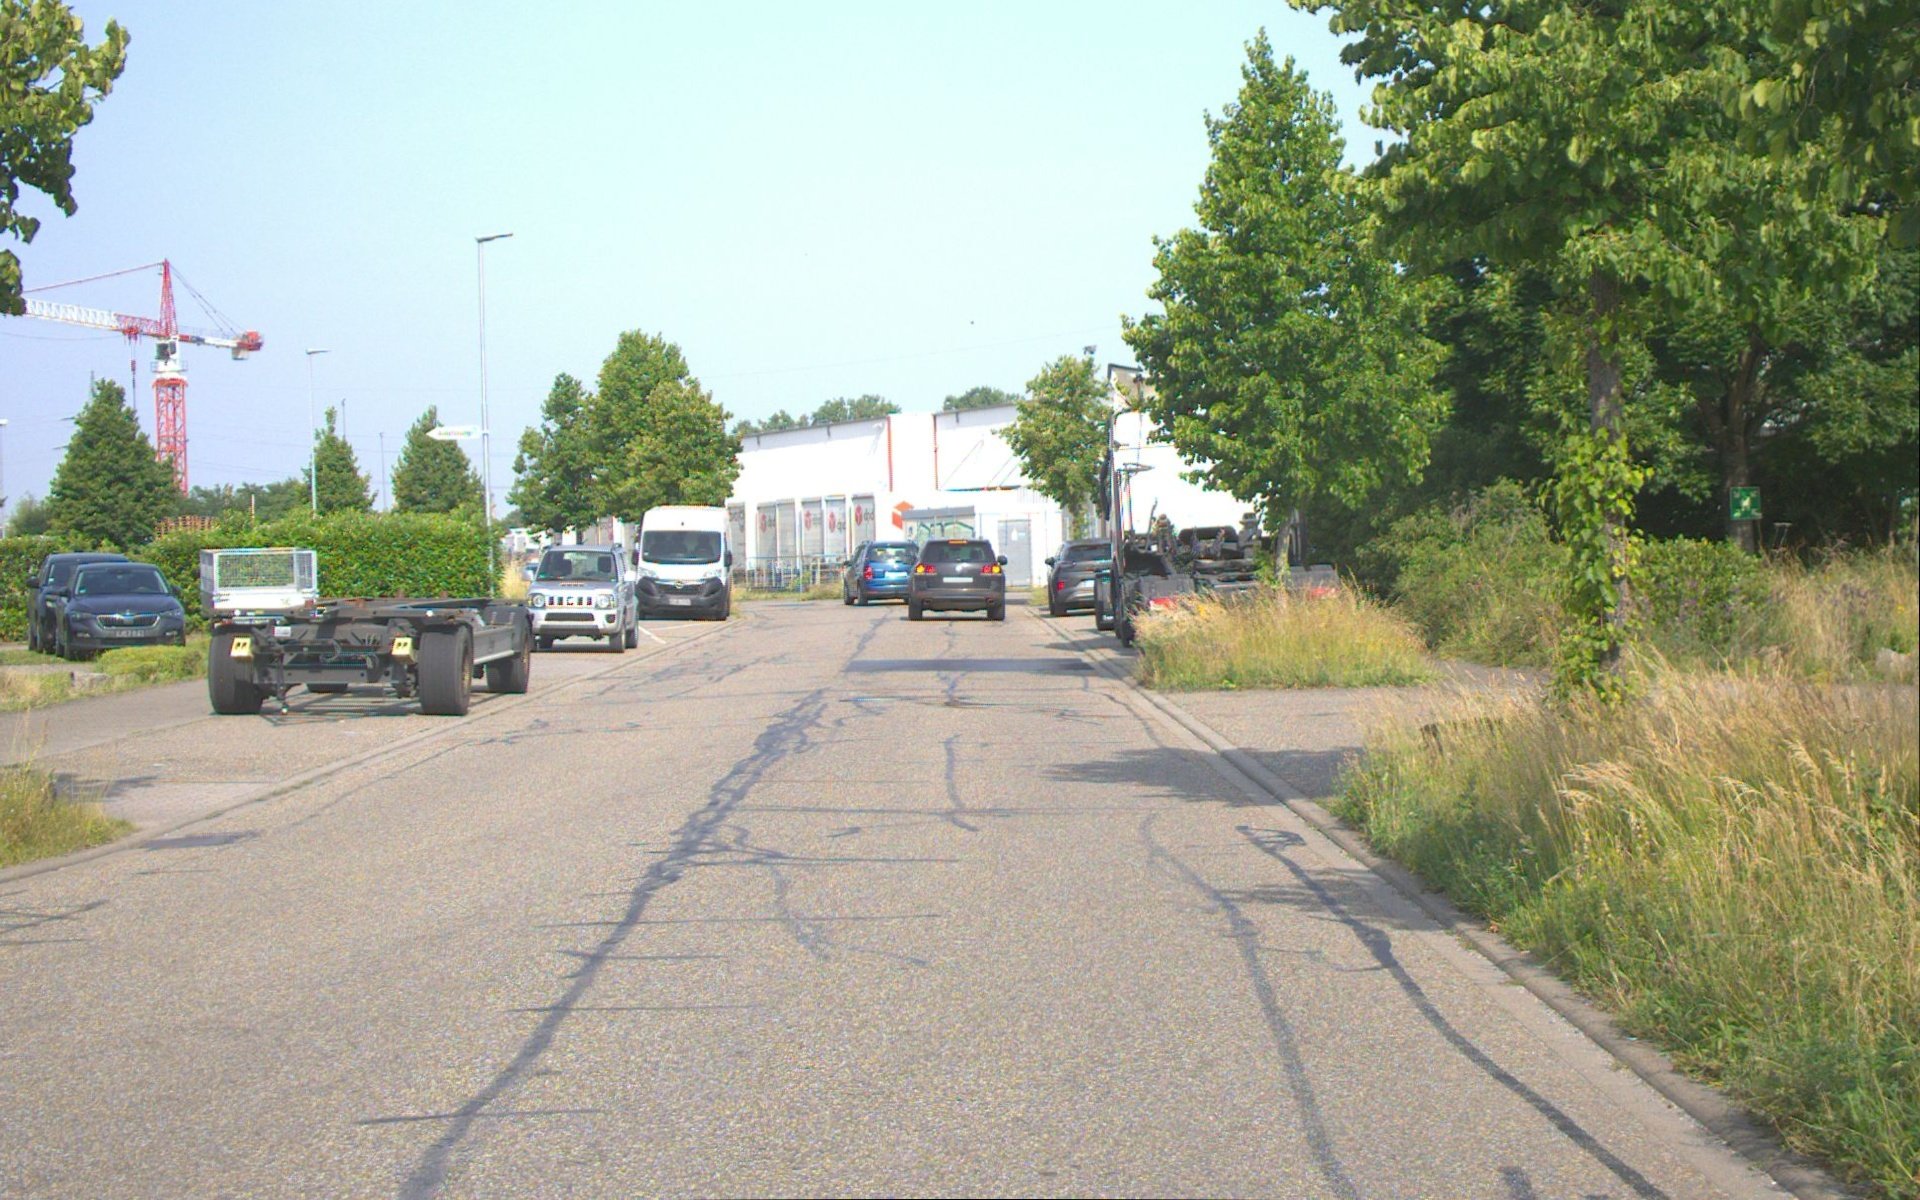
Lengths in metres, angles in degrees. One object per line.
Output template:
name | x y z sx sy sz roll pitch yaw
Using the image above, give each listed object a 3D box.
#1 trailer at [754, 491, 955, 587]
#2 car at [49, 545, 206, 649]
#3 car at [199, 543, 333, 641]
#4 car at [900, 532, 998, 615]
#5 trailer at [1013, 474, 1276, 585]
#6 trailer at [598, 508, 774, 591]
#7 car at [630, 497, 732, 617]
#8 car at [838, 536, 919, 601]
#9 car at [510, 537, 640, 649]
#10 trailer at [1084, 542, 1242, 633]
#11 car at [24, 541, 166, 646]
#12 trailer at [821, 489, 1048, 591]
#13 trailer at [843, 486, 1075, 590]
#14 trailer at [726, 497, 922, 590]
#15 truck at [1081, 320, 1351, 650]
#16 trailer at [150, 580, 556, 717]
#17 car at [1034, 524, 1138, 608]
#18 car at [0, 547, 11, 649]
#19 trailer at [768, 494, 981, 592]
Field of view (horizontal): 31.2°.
trailer | -4.479 -2.561 145.874 8.031 3.880 2.776 1 0 -24
car | -12.653 -0.074 52.088 1.975 1.471 4.423 -1 1 -18
car | -11.660 -0.147 57.581 1.833 1.566 3.818 0 1 -17
car | -0.222 -0.537 69.960 1.880 1.581 4.113 -2 0 0
trailer | 6.439 -2.453 119.657 8.730 3.748 2.791 -1 0 -23
trailer | -13.224 -2.420 166.091 7.960 3.880 2.776 1 0 -24
car | -6.318 -0.984 78.548 2.102 2.586 6.505 1 1 -3
car | -2.061 -0.799 87.876 1.968 1.568 4.113 -2 0 0
car | -5.979 -0.142 53.756 1.597 1.645 3.644 -1 1 0
trailer | 3.112 -0.246 54.164 1.938 1.231 7.452 -3 1 0
car | -14.453 -0.128 57.284 1.989 1.652 4.423 -1 1 -18
trailer | -0.998 -2.362 136.456 8.534 3.880 2.776 1 0 -24
trailer | -0.025 -2.370 133.442 8.534 3.880 2.776 1 0 -24
trailer | -5.882 -2.419 148.520 7.960 3.880 2.776 1 0 -24
truck | 3.308 -1.488 45.959 2.691 3.950 6.048 -4 1 -2
trailer | -6.021 0.406 35.733 2.546 1.070 9.732 0 1 0
car | 2.527 -0.679 70.005 1.880 1.568 4.113 -3 0 0
car | -15.284 -0.029 51.549 1.678 1.471 4.352 -1 1 -20
trailer | -3.511 -2.319 141.981 8.305 3.880 2.776 1 0 -24
